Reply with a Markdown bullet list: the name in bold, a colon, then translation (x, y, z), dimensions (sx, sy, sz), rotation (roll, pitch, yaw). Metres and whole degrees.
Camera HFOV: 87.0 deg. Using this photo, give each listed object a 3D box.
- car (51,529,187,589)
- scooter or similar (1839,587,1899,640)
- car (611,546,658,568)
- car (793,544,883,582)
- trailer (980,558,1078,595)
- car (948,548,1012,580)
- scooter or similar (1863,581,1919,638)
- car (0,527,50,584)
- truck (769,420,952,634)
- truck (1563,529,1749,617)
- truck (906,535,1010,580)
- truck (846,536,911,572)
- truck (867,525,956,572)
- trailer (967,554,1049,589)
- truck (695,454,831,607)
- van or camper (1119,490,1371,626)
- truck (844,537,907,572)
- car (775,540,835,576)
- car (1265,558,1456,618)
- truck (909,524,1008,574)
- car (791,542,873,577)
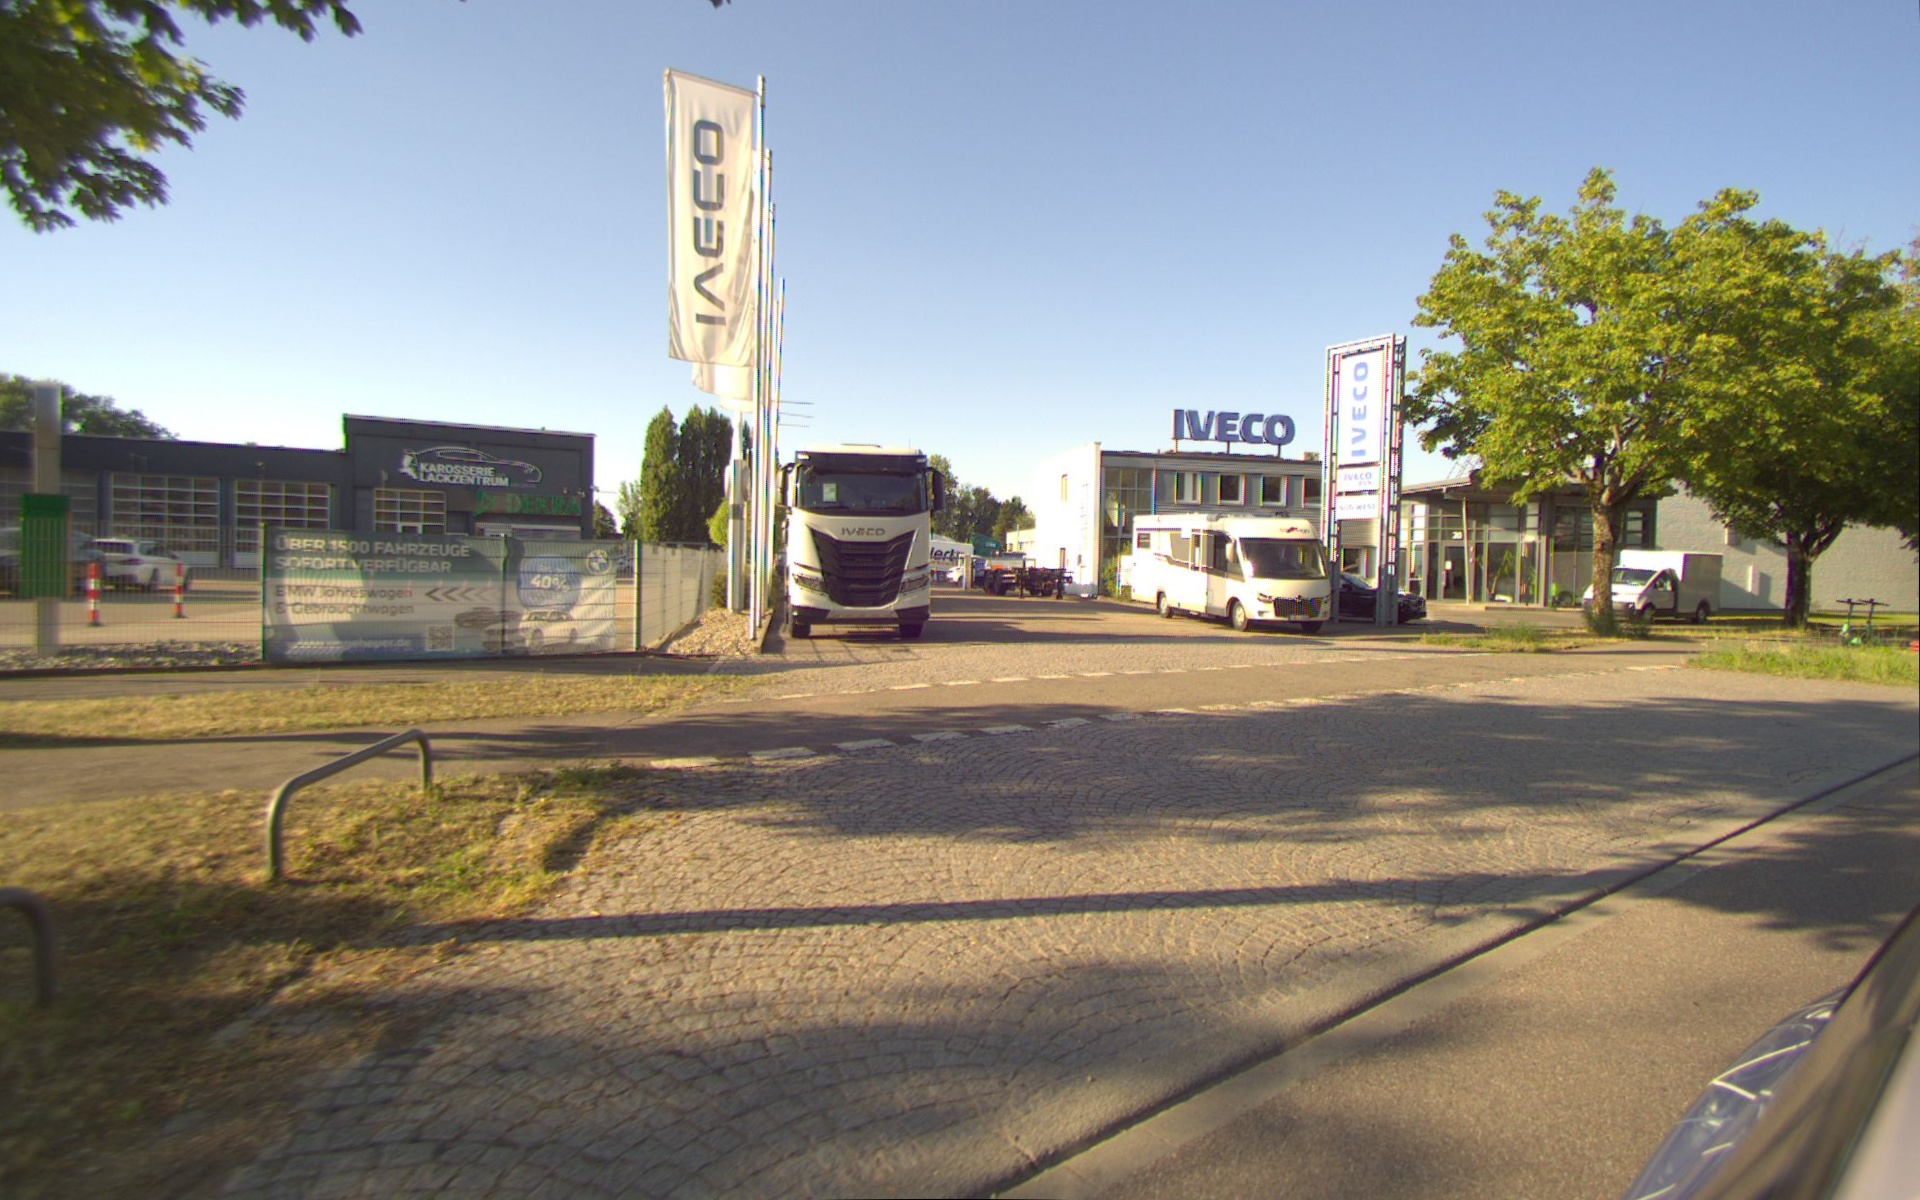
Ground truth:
- **car**: translation (-23.798, -1.176, 28.805), dimensions (1.809, 1.492, 4.010), rotation (3, 2, -23)
- **scooter or similar**: translation (21.699, 0.320, 24.155), dimensions (1.451, 1.211, 0.549), rotation (1, 2, -28)
- **car**: translation (-29.619, -3.904, 91.965), dimensions (3.916, 1.905, 2.005), rotation (1, 2, -21)
- **car**: translation (-6.999, -2.092, 58.054), dimensions (4.946, 2.039, 2.003), rotation (1, -1, -12)
- **trailer**: translation (2.707, -1.020, 41.421), dimensions (2.502, 1.338, 5.666), rotation (1, 2, -12)
- **car**: translation (1.328, -2.464, 68.793), dimensions (3.917, 2.038, 2.398), rotation (1, 2, -10)
- **scooter or similar**: translation (22.948, 0.220, 24.906), dimensions (1.451, 1.352, 0.549), rotation (1, 2, -28)
- **car**: translation (-26.413, -1.235, 27.046), dimensions (1.809, 1.492, 4.010), rotation (3, 2, -23)
- **truck**: translation (-2.212, -1.390, 21.122), dimensions (3.052, 3.565, 8.269), rotation (0, 2, -8)
- **truck**: translation (23.965, -0.923, 34.829), dimensions (5.848, 2.752, 2.552), rotation (1, 3, -26)
- **truck**: translation (-0.151, -2.984, 71.328), dimensions (6.966, 2.942, 2.004), rotation (1, 2, -10)
- **truck**: translation (-6.929, -3.850, 85.666), dimensions (5.249, 2.868, 2.004), rotation (1, 2, -10)
- **truck**: translation (-4.026, -4.214, 83.505), dimensions (6.966, 3.619, 2.683), rotation (1, 2, -10)
- **trailer**: translation (2.123, -1.299, 45.539), dimensions (3.189, 1.466, 2.262), rotation (1, 2, -10)
- **truck**: translation (-5.531, -1.934, 30.188), dimensions (3.228, 3.689, 10.137), rotation (1, 2, -7)
- **van or camper**: translation (6.941, -1.089, 26.281), dimensions (2.881, 2.935, 8.029), rotation (1, 2, -11)
- **truck**: translation (-7.456, -3.991, 88.785), dimensions (5.249, 2.868, 2.004), rotation (1, 2, -10)
- **car**: translation (-10.666, -2.883, 69.551), dimensions (3.917, 2.305, 2.093), rotation (1, 2, -11)
- **car**: translation (11.614, -0.399, 29.537), dimensions (4.793, 1.510, 1.972), rotation (4, 3, 40)
- **truck**: translation (-0.135, -3.744, 74.338), dimensions (6.966, 3.392, 2.004), rotation (1, 2, -10)
- **car**: translation (-8.073, -2.508, 63.848), dimensions (4.946, 2.039, 2.003), rotation (1, -1, -12)
